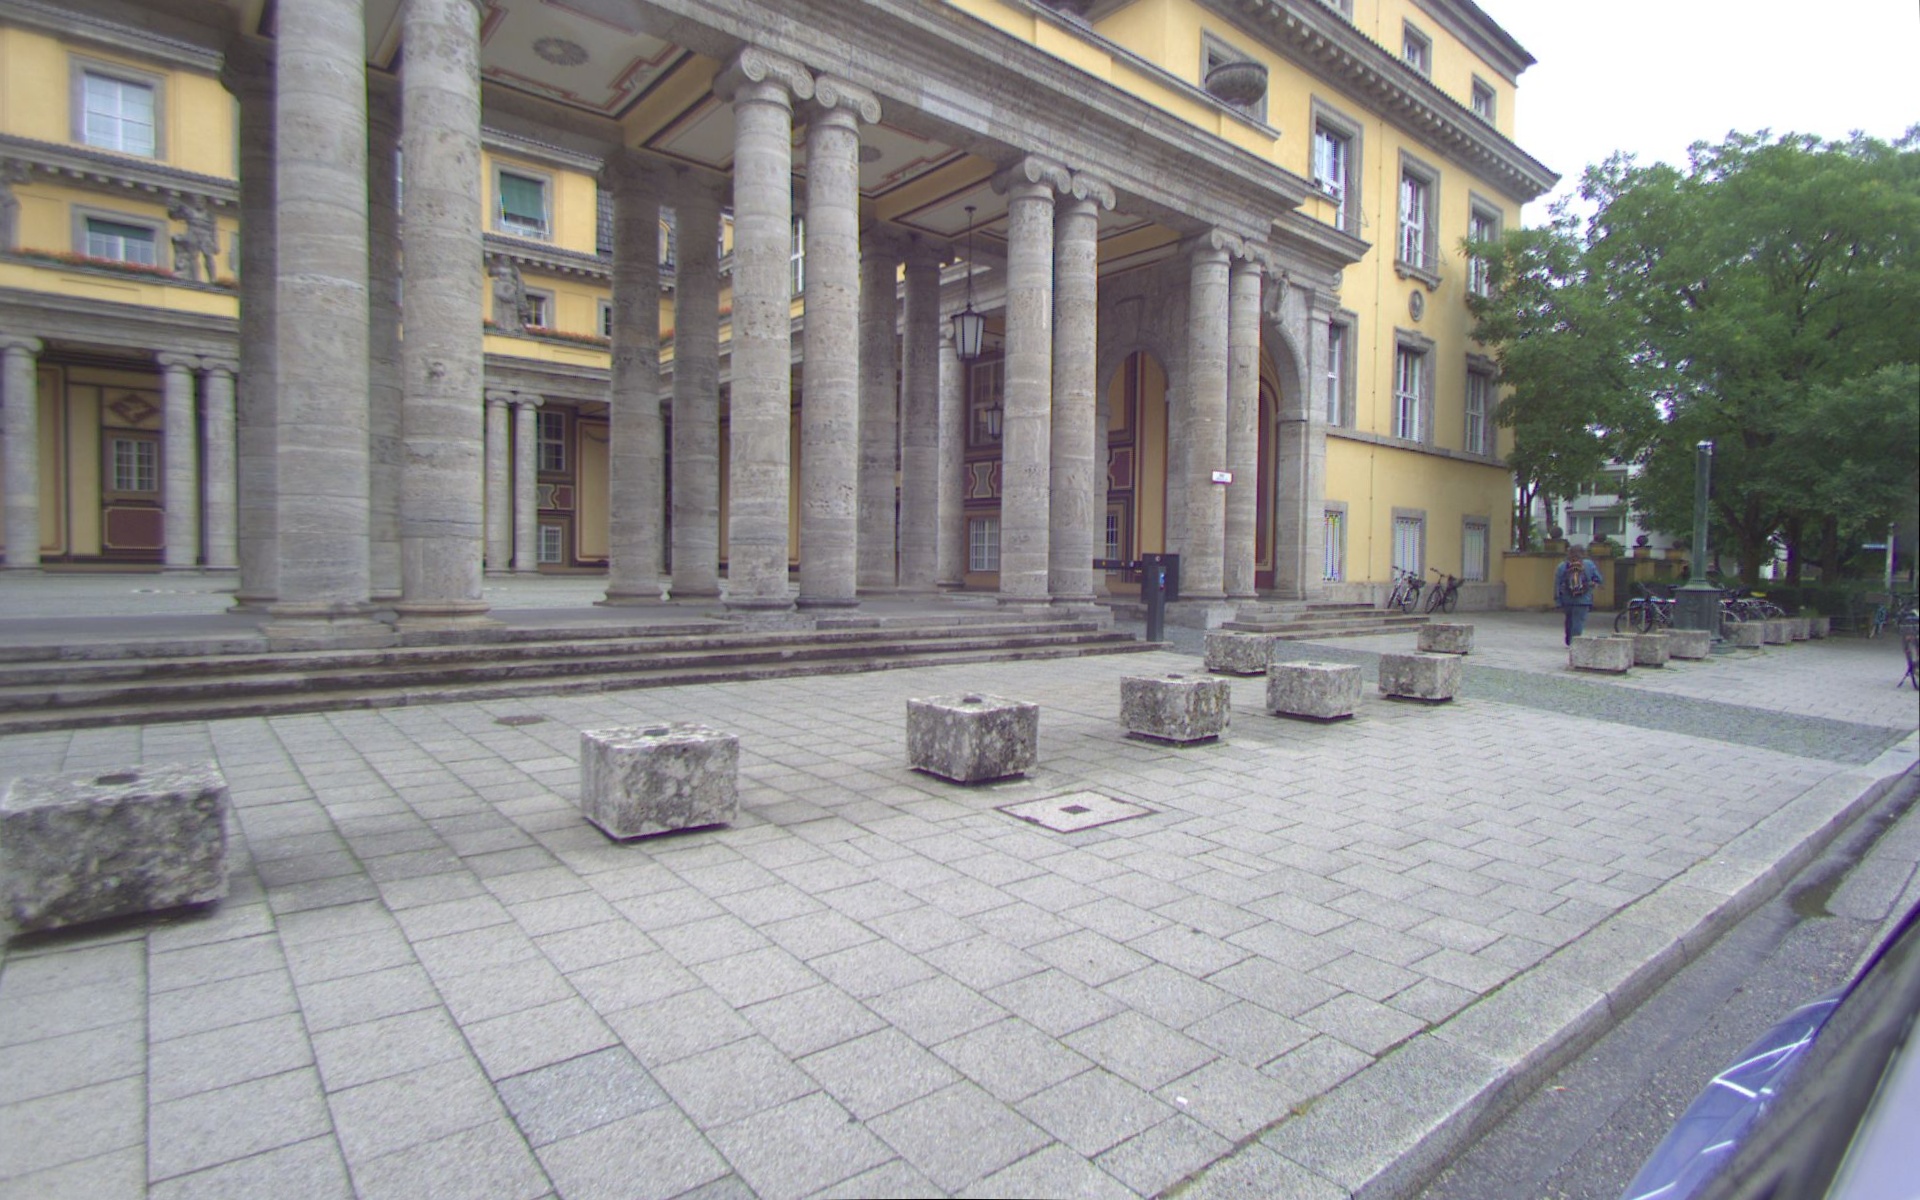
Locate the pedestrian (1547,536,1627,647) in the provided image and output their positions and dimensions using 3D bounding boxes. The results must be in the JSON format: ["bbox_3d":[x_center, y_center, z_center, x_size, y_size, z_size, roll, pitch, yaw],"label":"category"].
[{"bbox_3d":[10.380,-0.158,16.755,1.037,1.767,0.789,-1,3,-41],"label":"pedestrian"}]

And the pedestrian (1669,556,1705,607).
[{"bbox_3d":[26.220,-0.687,36.491,0.827,1.764,0.741,-1,6,-40],"label":"pedestrian"}]

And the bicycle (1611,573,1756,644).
[{"bbox_3d":[14.590,0.139,20.462,2.256,1.107,0.593,9,8,39],"label":"bicycle"}]

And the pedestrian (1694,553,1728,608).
[{"bbox_3d":[26.671,-0.689,35.933,0.806,1.887,0.659,-1,6,-40],"label":"pedestrian"}]

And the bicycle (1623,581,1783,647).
[{"bbox_3d":[14.100,0.230,19.267,2.362,1.018,0.668,6,5,42],"label":"bicycle"}]

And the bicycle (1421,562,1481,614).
[{"bbox_3d":[13.011,-0.334,26.804,2.127,1.323,0.601,-1,3,-41],"label":"bicycle"}]

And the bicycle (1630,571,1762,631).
[{"bbox_3d":[16.351,-0.003,22.523,2.256,1.035,0.593,9,8,39],"label":"bicycle"}]

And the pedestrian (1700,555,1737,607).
[{"bbox_3d":[28.620,-0.714,38.202,1.017,1.887,0.782,-1,6,-40],"label":"pedestrian"}]

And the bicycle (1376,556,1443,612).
[{"bbox_3d":[11.256,-0.416,25.291,2.224,1.323,0.601,-1,3,-41],"label":"bicycle"}]

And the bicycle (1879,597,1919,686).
[{"bbox_3d":[13.421,0.555,13.986,2.225,1.113,0.762,-1,5,-41],"label":"bicycle"}]

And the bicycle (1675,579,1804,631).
[{"bbox_3d":[18.165,0.098,23.652,0.591,1.023,2.264,0,4,-37],"label":"bicycle"}]

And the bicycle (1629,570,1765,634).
[{"bbox_3d":[15.815,0.012,21.767,2.256,1.071,0.593,9,8,39],"label":"bicycle"}]
